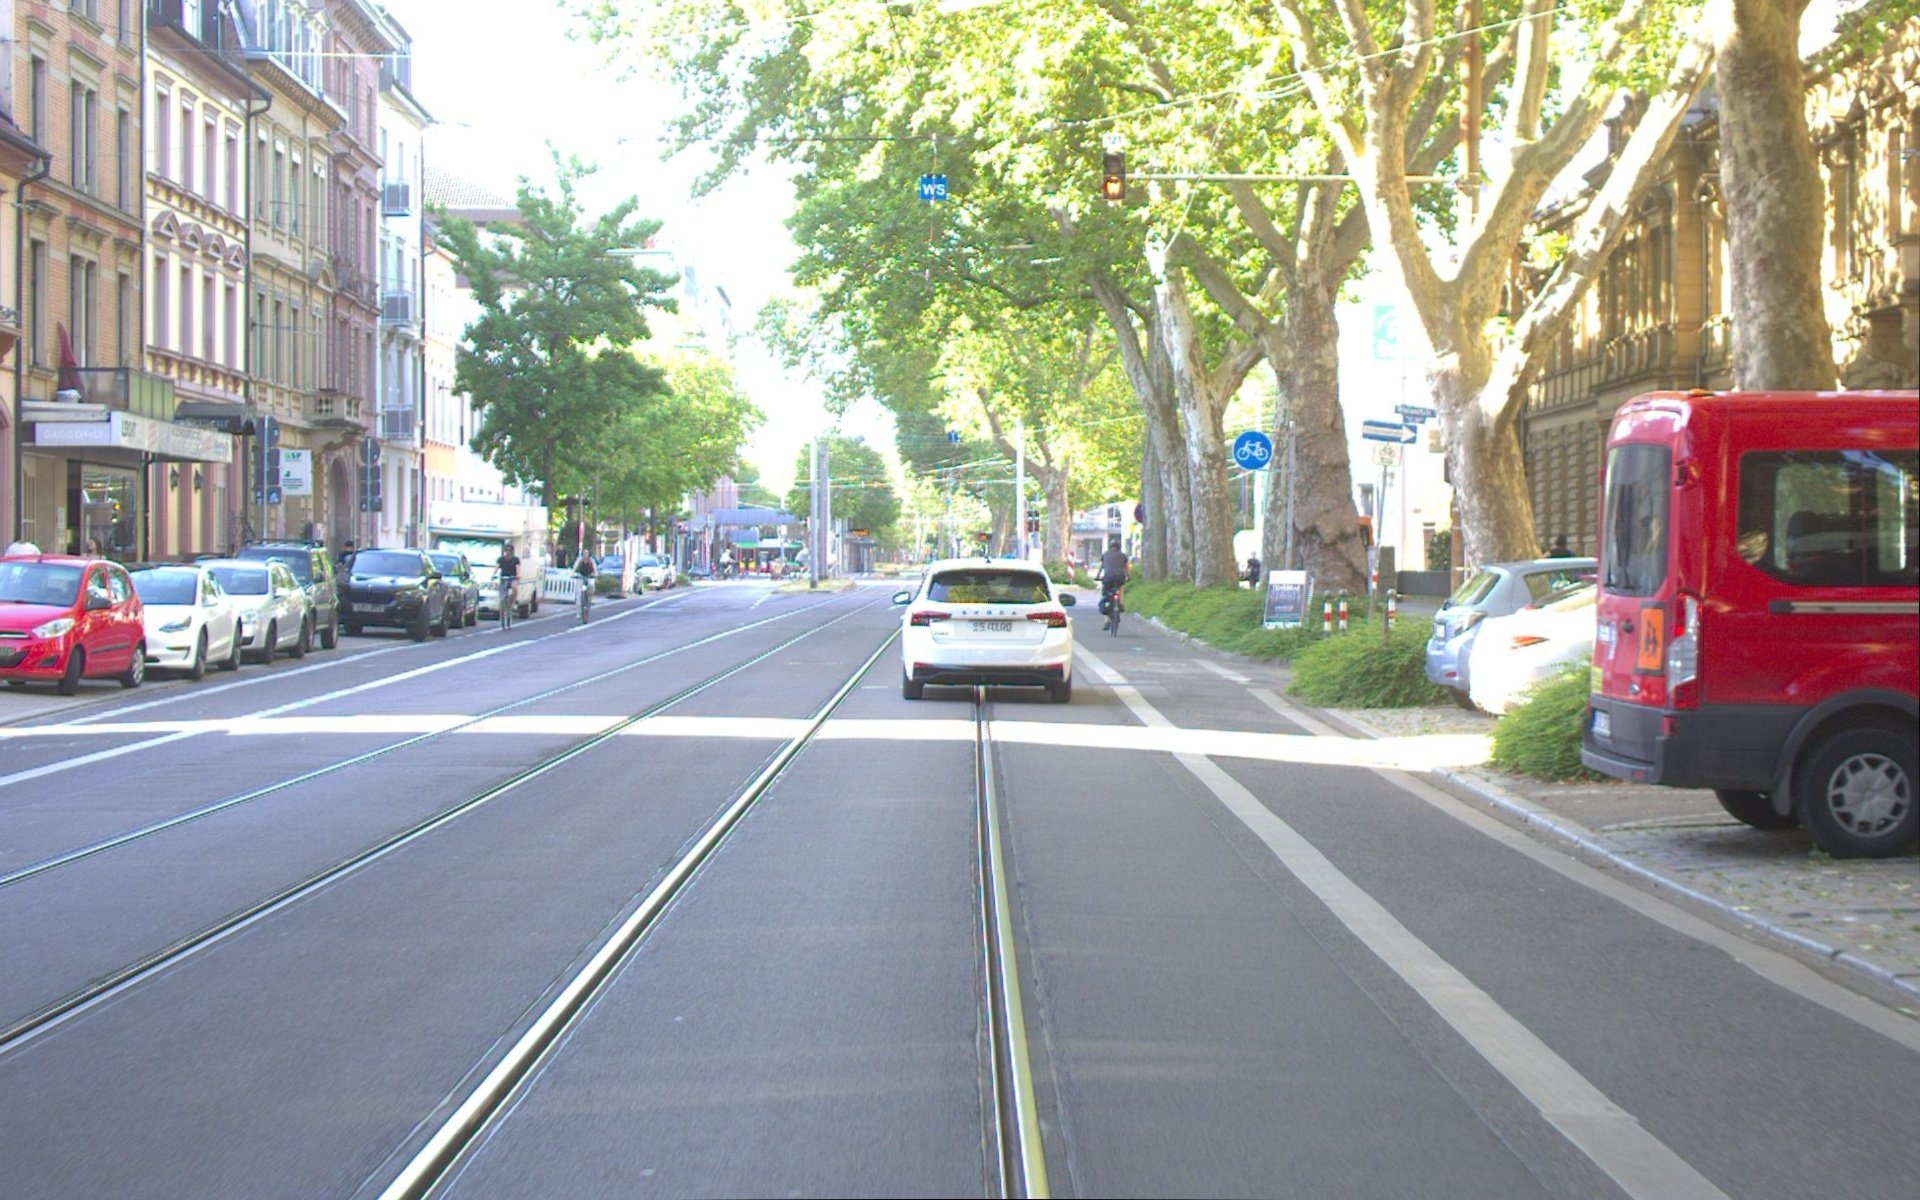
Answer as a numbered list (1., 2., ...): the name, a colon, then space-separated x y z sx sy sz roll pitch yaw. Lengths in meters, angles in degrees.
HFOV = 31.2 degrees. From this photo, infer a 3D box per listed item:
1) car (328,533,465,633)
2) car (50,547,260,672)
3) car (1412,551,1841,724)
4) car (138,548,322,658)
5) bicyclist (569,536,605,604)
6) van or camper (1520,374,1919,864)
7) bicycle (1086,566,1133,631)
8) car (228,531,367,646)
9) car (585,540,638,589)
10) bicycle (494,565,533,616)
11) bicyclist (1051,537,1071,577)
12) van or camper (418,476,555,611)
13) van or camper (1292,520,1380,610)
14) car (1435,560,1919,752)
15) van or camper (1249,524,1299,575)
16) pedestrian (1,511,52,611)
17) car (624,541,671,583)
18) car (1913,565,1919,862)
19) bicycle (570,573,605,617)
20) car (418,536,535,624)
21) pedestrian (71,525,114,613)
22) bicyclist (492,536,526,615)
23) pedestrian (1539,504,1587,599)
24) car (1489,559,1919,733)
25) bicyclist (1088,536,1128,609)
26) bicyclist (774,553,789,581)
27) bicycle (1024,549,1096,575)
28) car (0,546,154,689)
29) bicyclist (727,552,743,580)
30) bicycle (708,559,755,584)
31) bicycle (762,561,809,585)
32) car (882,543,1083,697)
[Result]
1. car: -10.867 -0.353 66.566 1.964 1.775 4.938 3 1 -3
2. car: -10.453 0.079 44.952 1.827 1.497 4.689 1 1 -3
3. car: 6.358 0.339 33.081 3.751 1.503 1.681 2 1 0
4. car: -10.600 0.008 50.210 1.827 1.497 4.450 1 1 -2
5. bicyclist: -8.302 -0.661 76.542 0.638 1.498 1.070 -1 0 0
6. van or camper: 6.274 0.002 19.164 5.814 2.510 2.288 -2 2 -3
7. bicycle: 2.737 -0.036 63.125 0.680 1.151 2.964 2 1 -1
8. car: -10.483 -0.206 54.599 1.555 1.726 3.686 1 1 -2
9. car: -12.649 -1.307 124.866 1.641 1.720 3.785 1 1 -2
10. bicycle: -9.405 -0.206 72.492 0.484 1.044 2.039 -2 1 1
11. bicyclist: 4.056 -1.721 137.854 0.737 1.583 0.586 0 1 12
12. van or camper: -11.558 -1.372 84.467 2.216 3.129 7.113 1 1 1
13. van or camper: 10.797 -1.007 98.927 2.027 2.455 5.108 2 1 1
14. car: 6.135 0.434 27.987 4.286 1.412 1.760 -1 1 1
15. van or camper: 15.028 -2.416 164.796 1.993 2.335 4.000 2 1 0
16. pedestrian: -15.477 -0.647 56.981 0.771 1.628 0.657 1 0 -16
17. car: -13.442 -1.645 148.181 1.794 1.720 3.785 1 1 -2
18. car: 6.844 0.575 17.035 3.733 1.524 1.669 -1 1 -3
19. bicycle: -8.288 -0.114 76.561 0.499 0.940 1.921 -2 1 1
20. car: -10.188 -0.445 72.685 1.964 1.775 4.471 1 1 -2
21. pedestrian: -14.465 -0.522 57.345 0.635 1.455 0.657 1 0 -17
22. bicyclist: -9.497 -0.519 72.469 0.535 1.629 0.896 -2 0 1
23. pedestrian: 10.409 -0.832 59.309 0.648 1.627 0.871 2 0 19
24. car: 6.689 0.377 30.067 3.750 1.382 1.681 -1 1 -6
25. bicyclist: 2.733 -0.508 63.410 0.679 1.334 0.525 2 0 -1
26. bicyclist: -9.964 -1.845 191.821 0.631 1.517 0.610 -1 2 -35
27. bicycle: 4.006 -1.520 137.863 2.771 0.996 0.592 2 0 14
28. car: -10.538 0.165 39.501 1.569 1.557 3.448 0 1 3
29. bicyclist: -12.455 -1.868 190.322 0.631 1.517 0.610 -1 2 -35
30. bicycle: -12.634 -1.579 190.164 2.680 1.323 0.615 -1 1 -35
31. bicycle: -9.739 -1.500 191.971 2.680 1.323 0.615 -1 1 -35
32. car: 0.183 0.173 35.687 1.842 1.475 3.839 1 1 -3
